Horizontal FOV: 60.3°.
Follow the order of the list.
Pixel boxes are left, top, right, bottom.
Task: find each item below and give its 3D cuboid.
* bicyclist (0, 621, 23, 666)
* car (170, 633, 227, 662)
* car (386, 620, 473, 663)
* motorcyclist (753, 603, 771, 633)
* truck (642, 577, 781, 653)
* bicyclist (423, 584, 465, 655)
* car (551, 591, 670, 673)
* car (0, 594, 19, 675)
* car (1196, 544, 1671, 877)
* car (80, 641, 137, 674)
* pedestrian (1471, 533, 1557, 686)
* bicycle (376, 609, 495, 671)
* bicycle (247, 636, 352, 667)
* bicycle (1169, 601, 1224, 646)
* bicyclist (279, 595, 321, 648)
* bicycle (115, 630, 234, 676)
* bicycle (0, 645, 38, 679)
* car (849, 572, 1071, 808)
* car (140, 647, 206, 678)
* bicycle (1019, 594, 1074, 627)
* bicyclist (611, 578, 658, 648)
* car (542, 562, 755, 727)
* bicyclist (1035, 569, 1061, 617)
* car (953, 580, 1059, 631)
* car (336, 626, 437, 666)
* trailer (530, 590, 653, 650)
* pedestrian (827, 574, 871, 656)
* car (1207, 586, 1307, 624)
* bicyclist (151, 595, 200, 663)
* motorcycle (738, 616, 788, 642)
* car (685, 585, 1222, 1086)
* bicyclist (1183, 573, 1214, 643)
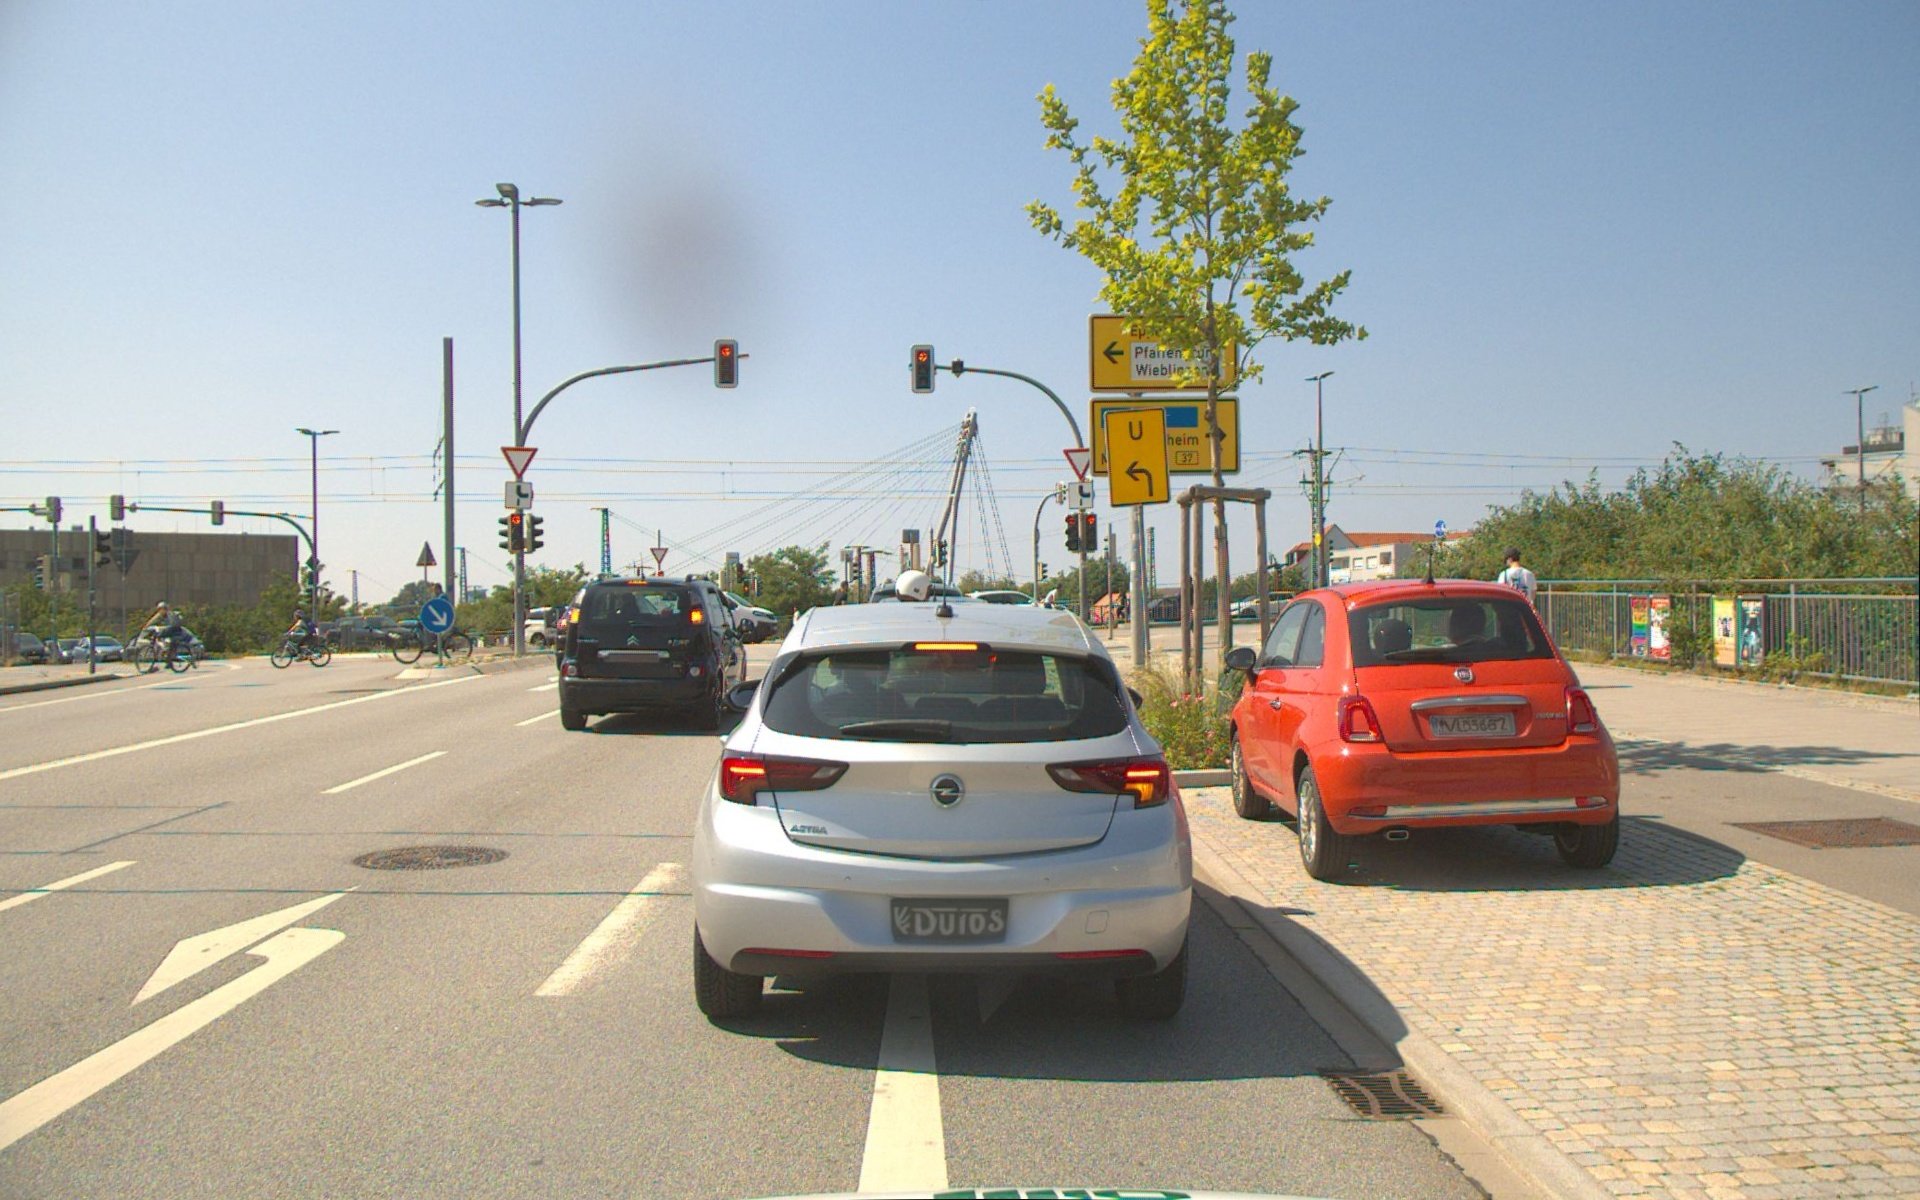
[{"bbox_3d":[-33.555,1.521,58.130,0.703,1.530,0.825,0,-1,16],"label":"bicyclist"},{"bbox_3d":[-46.280,2.881,100.529,3.321,1.684,1.642,1,-1,34],"label":"car"},{"bbox_3d":[-26.682,2.093,83.144,3.912,2.049,1.996,1,-1,30],"label":"car"},{"bbox_3d":[-10.179,0.923,85.198,0.792,1.502,0.885,1,-1,-1],"label":"motorcyclist"},{"bbox_3d":[-8.893,0.539,59.454,4.597,2.585,2.000,1,-1,1],"label":"truck"},{"bbox_3d":[-11.851,0.443,37.999,0.808,1.587,0.860,1,-1,-14],"label":"bicyclist"},{"bbox_3d":[-6.392,0.579,30.551,1.555,1.419,3.338,0,-1,-2],"label":"car"},{"bbox_3d":[-25.539,0.851,43.121,1.652,2.049,3.961,2,-1,-29],"label":"car"},{"bbox_3d":[2.599,0.551,10.053,1.636,1.567,3.915,-2,0,-2],"label":"car"},{"bbox_3d":[-41.196,2.771,79.979,3.101,1.464,1.575,0,-1,45],"label":"car"},{"bbox_3d":[6.929,0.119,20.722,0.743,1.862,0.884,1,-1,-1],"label":"pedestrian"},{"bbox_3d":[-12.014,0.907,37.967,2.483,1.153,0.726,-5,2,-15],"label":"bicycle"},{"bbox_3d":[-15.250,1.187,38.227,2.200,0.704,0.516,0,-1,-1],"label":"bicycle"},{"bbox_3d":[6.545,0.656,45.642,0.545,1.198,2.078,1,0,38],"label":"bicycle"},{"bbox_3d":[-15.259,0.496,38.245,0.643,1.196,0.731,1,-1,0],"label":"bicyclist"},{"bbox_3d":[-18.026,1.214,37.970,2.452,1.025,0.605,0,-1,3],"label":"bicycle"},{"bbox_3d":[-33.556,2.173,58.099,2.270,1.153,0.637,0,-1,17],"label":"bicycle"},{"bbox_3d":[-0.044,0.686,14.086,1.602,1.703,3.743,1,-1,-2],"label":"car"},{"bbox_3d":[-34.030,2.676,71.513,2.426,1.262,1.279,0,-1,23],"label":"car"},{"bbox_3d":[2.984,0.375,57.176,1.829,1.087,0.577,1,-1,-5],"label":"bicycle"},{"bbox_3d":[-7.599,0.303,38.690,0.926,1.596,0.822,1,-1,-3],"label":"bicyclist"},{"bbox_3d":[-3.416,0.475,18.818,1.767,1.650,3.915,-1,-1,-2],"label":"car"},{"bbox_3d":[3.042,-0.247,57.204,0.756,1.638,0.948,1,-1,-2],"label":"bicyclist"},{"bbox_3d":[1.718,0.222,62.858,3.950,1.846,1.931,1,-1,-1],"label":"car"},{"bbox_3d":[-21.991,1.746,63.389,3.705,1.414,1.662,1,-1,30],"label":"car"},{"bbox_3d":[-13.209,0.729,59.466,3.905,2.049,2.000,1,-1,1],"label":"trailer"},{"bbox_3d":[-2.625,0.348,38.991,0.733,1.896,0.745,2,-1,-33],"label":"pedestrian"},{"bbox_3d":[13.902,0.264,77.377,4.180,1.703,1.990,1,-1,-18],"label":"car"},{"bbox_3d":[-18.012,0.666,37.976,0.643,1.528,0.844,1,-1,4],"label":"bicyclist"},{"bbox_3d":[-10.125,1.500,85.155,2.485,1.255,0.648,1,-1,-2],"label":"motorcycle"},{"bbox_3d":[-0.067,0.737,7.274,1.656,1.546,4.269,0,0,-1],"label":"car"},{"bbox_3d":[6.580,0.226,45.663,0.624,1.920,0.593,0,-1,38],"label":"bicyclist"}]
